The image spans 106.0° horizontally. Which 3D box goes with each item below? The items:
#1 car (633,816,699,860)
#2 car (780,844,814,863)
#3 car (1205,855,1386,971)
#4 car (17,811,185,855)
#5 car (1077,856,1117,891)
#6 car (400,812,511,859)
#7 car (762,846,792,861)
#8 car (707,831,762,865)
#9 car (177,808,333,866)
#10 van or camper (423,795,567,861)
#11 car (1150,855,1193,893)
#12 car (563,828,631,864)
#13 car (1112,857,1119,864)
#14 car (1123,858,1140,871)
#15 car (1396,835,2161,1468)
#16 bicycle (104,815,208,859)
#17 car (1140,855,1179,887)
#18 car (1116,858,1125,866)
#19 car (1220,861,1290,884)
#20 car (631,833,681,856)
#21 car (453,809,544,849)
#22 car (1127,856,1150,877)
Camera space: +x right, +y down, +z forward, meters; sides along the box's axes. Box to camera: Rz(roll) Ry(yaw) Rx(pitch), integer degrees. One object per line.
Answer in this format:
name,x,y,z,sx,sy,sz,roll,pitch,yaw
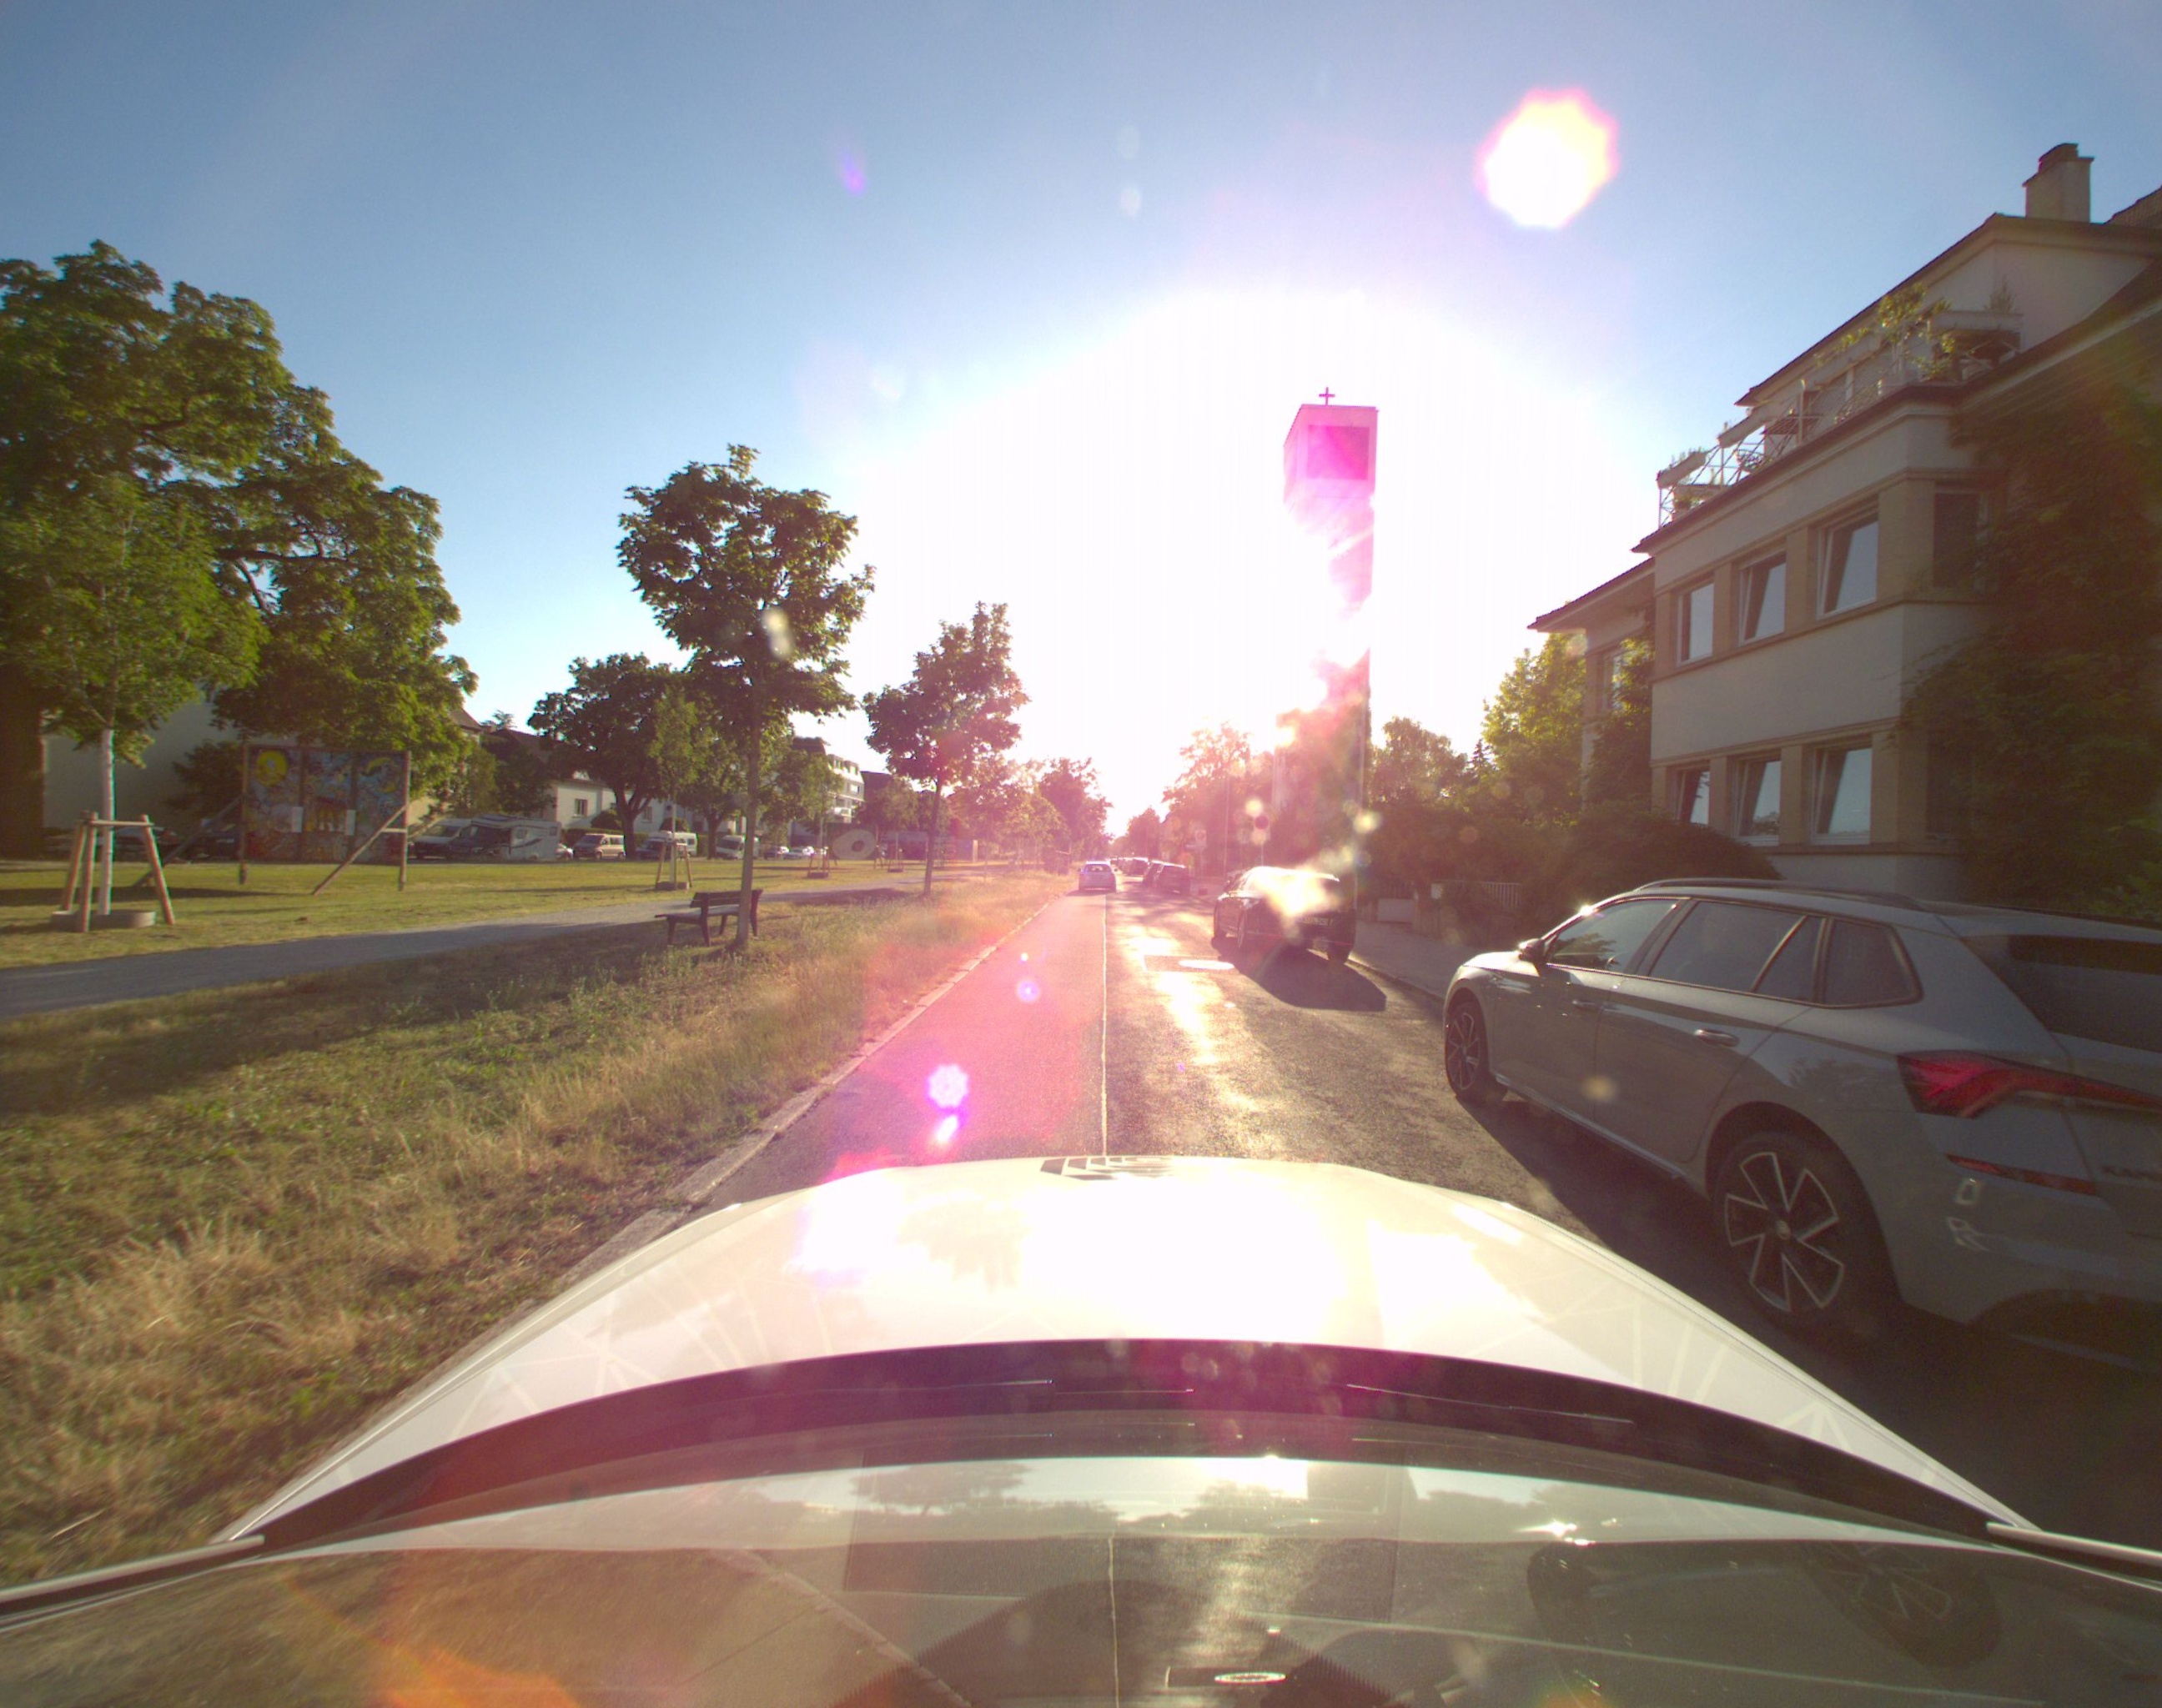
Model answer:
car,-37.196,-1.347,73.235,2.294,3.559,6.767,-1,-1,2
car,-31.219,-0.002,89.628,1.826,1.899,4.645,-2,-1,3
car,3.693,0.960,15.060,1.987,1.597,4.886,6,-1,1
car,-38.759,-0.782,32.368,1.987,1.542,3.809,2,0,0
car,0.815,0.900,39.019,1.816,1.566,4.002,1,0,2
car,-38.532,-1.057,50.432,1.986,2.598,6.092,-1,-1,2
car,-36.635,-0.072,98.249,1.775,1.703,4.668,-2,-1,2
car,-31.420,-0.469,73.997,2.252,2.826,5.873,-2,-1,2
car,-38.511,-0.706,38.206,1.929,2.419,5.119,-2,-1,2
van or camper,-32.243,-1.335,45.247,2.631,3.262,6.909,2,0,2
car,4.436,0.944,40.393,1.681,1.527,4.177,6,1,2
car,-37.638,-0.572,63.538,2.129,2.604,5.324,-1,-1,0
car,9.785,1.819,232.330,1.981,2.023,4.002,2,0,2
car,6.394,1.351,103.600,1.985,1.462,4.565,4,0,3
car,3.381,0.855,4.244,1.875,1.536,4.465,5,-1,3
bicycle,-29.861,-0.534,26.367,0.508,1.342,2.333,2,0,5
car,4.535,0.934,47.451,1.815,1.561,4.624,8,0,2
car,8.410,1.699,174.106,1.715,1.597,4.002,2,-1,2
car,13.147,1.416,61.694,4.830,1.486,2.002,3,-4,1
car,-31.586,-0.686,60.650,1.409,1.564,4.310,2,0,1
car,-32.243,-1.335,45.247,1.986,2.013,4.002,2,0,2
car,5.316,1.149,75.826,1.826,1.732,5.033,4,-1,1
